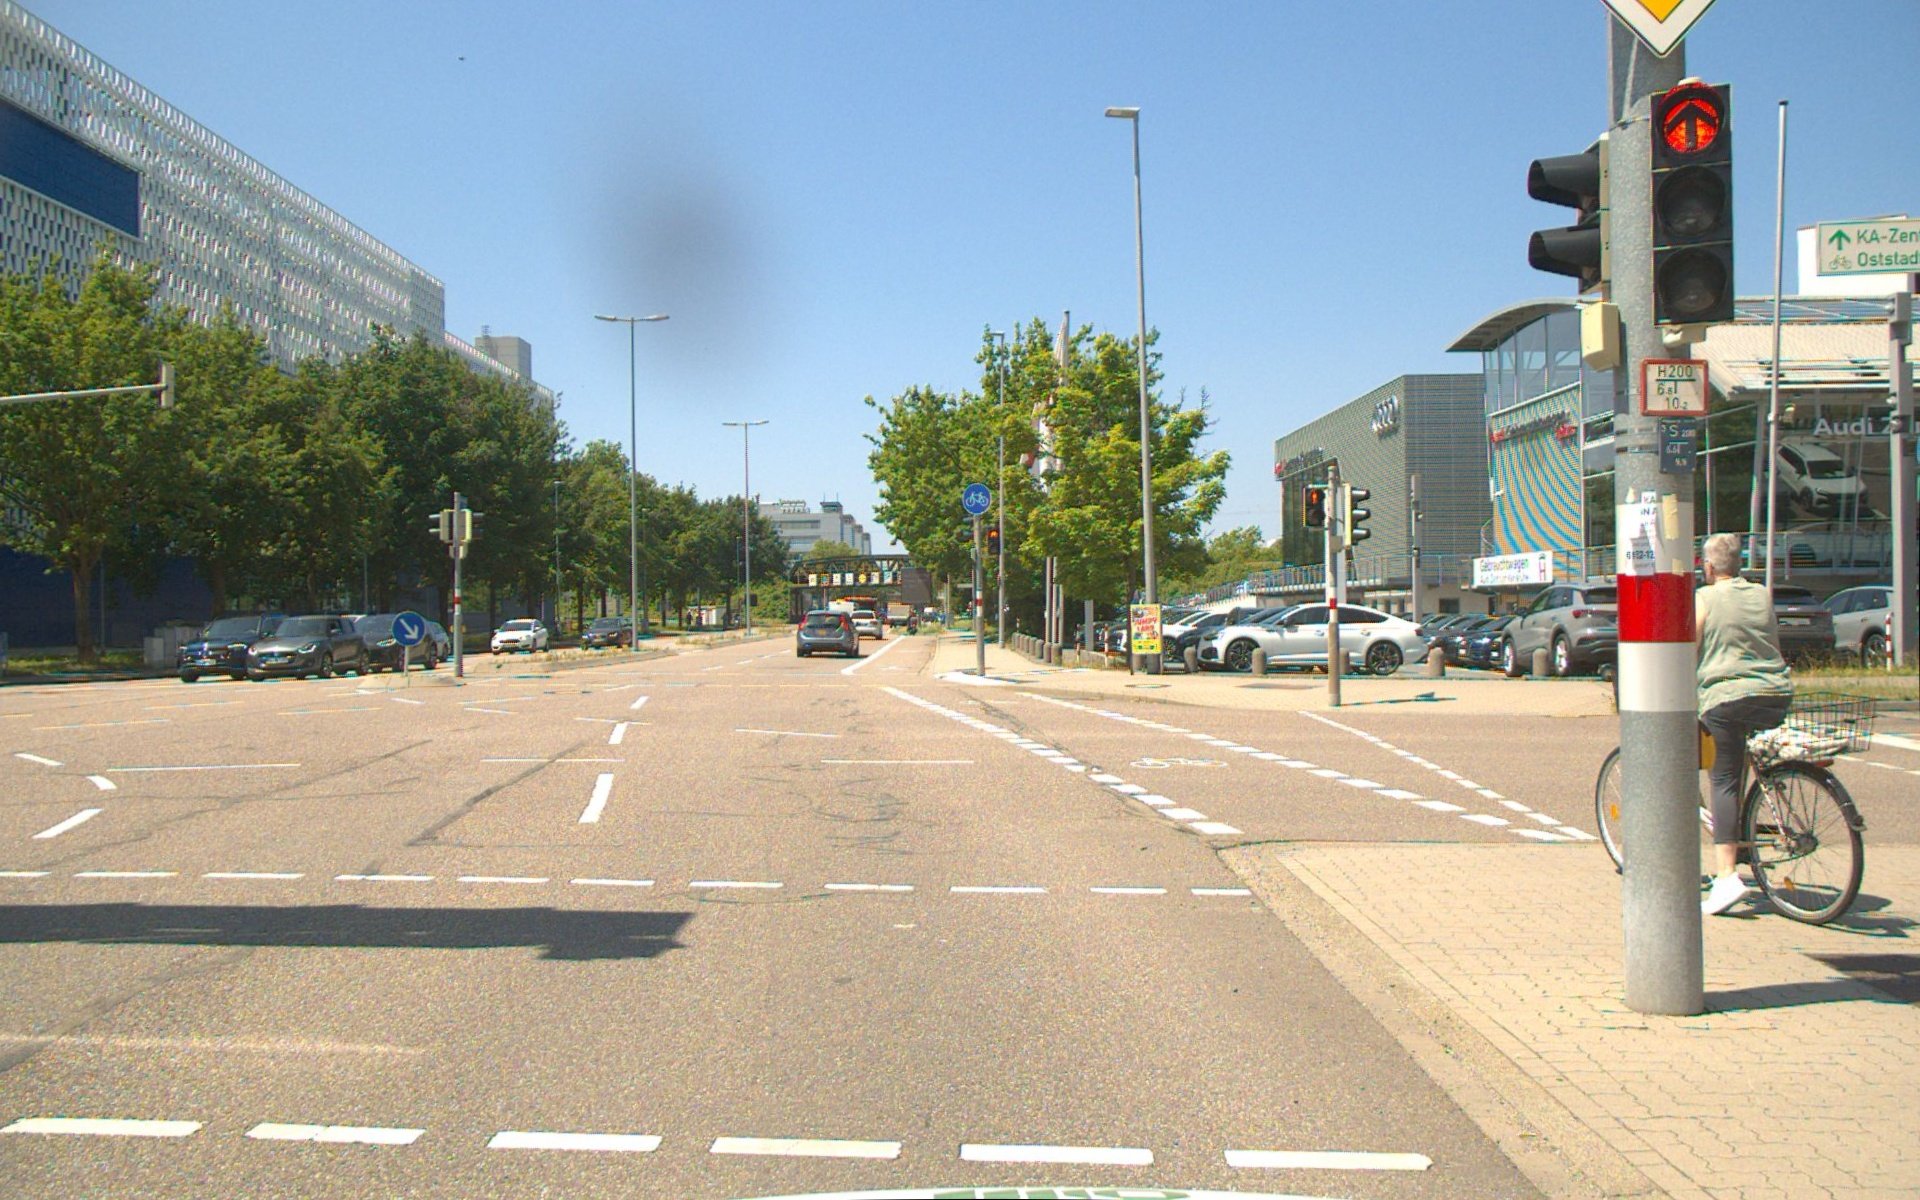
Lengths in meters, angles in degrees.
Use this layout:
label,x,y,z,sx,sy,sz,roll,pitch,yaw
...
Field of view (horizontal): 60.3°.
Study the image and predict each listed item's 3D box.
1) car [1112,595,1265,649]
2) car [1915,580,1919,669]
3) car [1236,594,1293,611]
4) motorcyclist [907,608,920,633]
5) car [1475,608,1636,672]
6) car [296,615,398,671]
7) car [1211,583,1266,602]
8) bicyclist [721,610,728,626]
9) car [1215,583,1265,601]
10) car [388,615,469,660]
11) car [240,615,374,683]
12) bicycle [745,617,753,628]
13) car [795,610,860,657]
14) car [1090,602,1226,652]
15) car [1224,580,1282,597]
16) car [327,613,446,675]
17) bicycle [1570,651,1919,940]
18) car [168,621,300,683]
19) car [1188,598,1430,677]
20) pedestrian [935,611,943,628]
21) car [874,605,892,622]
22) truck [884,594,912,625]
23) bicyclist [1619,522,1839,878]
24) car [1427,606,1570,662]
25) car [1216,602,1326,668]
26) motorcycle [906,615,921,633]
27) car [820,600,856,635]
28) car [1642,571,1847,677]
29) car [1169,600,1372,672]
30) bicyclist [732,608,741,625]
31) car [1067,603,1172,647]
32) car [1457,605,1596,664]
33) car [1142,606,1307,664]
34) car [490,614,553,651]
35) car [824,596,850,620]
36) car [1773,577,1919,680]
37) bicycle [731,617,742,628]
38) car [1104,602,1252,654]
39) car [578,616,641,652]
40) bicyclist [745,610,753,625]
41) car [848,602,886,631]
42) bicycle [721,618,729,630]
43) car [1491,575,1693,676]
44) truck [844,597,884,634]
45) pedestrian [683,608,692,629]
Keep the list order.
label,x,y,z,sx,sy,sz,roll,pitch,yaw
car,6.397,0.608,46.550,4.016,1.372,1.868,2,-1,-1
car,18.774,0.479,29.024,1.604,1.644,3.814,0,1,-5
car,21.471,0.180,116.570,3.652,1.150,1.682,1,-1,-5
motorcyclist,-3.006,1.307,105.941,0.706,1.556,0.868,1,-1,-11
car,16.643,1.118,46.326,3.904,1.650,1.656,2,-1,-1
car,-18.596,1.289,50.335,1.691,1.571,3.914,-2,-1,-1
car,21.814,-0.592,129.676,3.909,1.335,1.795,1,-1,-5
bicyclist,-23.290,1.781,163.687,0.624,1.610,0.884,-1,-1,-2
car,21.239,-0.605,125.419,3.455,1.261,1.675,1,-1,-5
car,-18.803,1.325,58.659,1.616,1.512,3.914,-2,-1,-1
car,-15.143,1.115,38.533,1.610,1.413,3.715,-3,-1,0
bicycle,-23.170,2.428,181.887,0.616,1.179,2.116,-3,0,-2
car,-4.206,1.043,53.043,1.862,1.400,4.230,-1,0,-2
car,6.224,0.851,52.255,4.017,1.429,1.868,2,-1,-1
car,21.388,-0.833,120.803,3.862,1.232,1.715,0,-1,-5
car,-15.443,1.169,44.752,1.691,1.531,4.243,-3,-1,0
bicycle,3.723,0.864,8.030,0.616,1.153,1.892,0,1,-7
car,-18.405,1.292,42.100,1.627,1.449,4.037,-2,-1,-1
car,6.966,0.748,33.348,4.497,1.415,1.869,2,-1,1
pedestrian,-1.702,1.595,135.961,0.611,1.399,0.564,-1,-1,-3
car,-9.678,1.659,208.489,1.952,2.049,4.001,-2,0,2
truck,-6.034,0.904,160.623,2.562,2.900,5.613,1,0,-1
bicyclist,3.724,0.466,8.057,0.616,1.634,0.824,1,-1,-8
car,16.747,1.055,51.564,3.901,1.601,1.633,2,-1,-1
car,7.414,0.816,39.784,1.824,1.444,4.663,2,-1,1
motorcycle,-2.998,1.536,105.873,0.703,1.124,1.825,1,-1,-10
car,-7.319,1.039,99.426,1.953,2.049,3.998,1,-1,-2
car,13.660,0.433,29.049,1.806,1.683,3.999,2,-1,2
car,6.682,0.768,35.851,4.013,1.415,1.868,2,-1,-1
bicyclist,-22.750,1.669,168.324,0.729,1.715,0.952,-1,-1,0
car,5.796,0.903,60.344,3.607,1.479,1.833,2,-1,-1
car,16.885,1.022,49.414,3.573,1.608,1.642,2,-1,-1
car,6.953,0.908,43.719,4.013,1.388,1.874,2,-1,-1
car,-19.010,1.386,71.791,1.708,1.512,3.999,-2,-1,-1
car,-10.875,0.734,146.594,1.953,2.049,4.811,1,0,-1
car,16.402,0.505,29.243,1.808,1.683,3.994,2,-1,-5
bicycle,-22.741,2.269,168.403,0.724,1.145,2.434,-1,0,0
car,6.465,0.822,49.373,4.140,1.415,1.868,2,-1,-1
car,-15.854,1.528,75.004,1.691,1.471,4.720,-3,-1,2
bicyclist,-23.191,1.903,181.843,0.621,1.657,1.044,-3,-1,-2
car,-4.575,0.806,81.961,1.708,1.420,3.528,0,0,-1
bicycle,-23.275,2.364,163.721,0.624,1.153,1.969,-1,-1,-3
car,11.035,0.478,29.244,1.830,1.586,4.503,-2,-2,0
truck,-6.634,1.056,115.236,2.408,2.452,7.132,1,0,-1
pedestrian,-25.863,1.746,157.024,0.728,1.917,0.577,-1,-1,0
